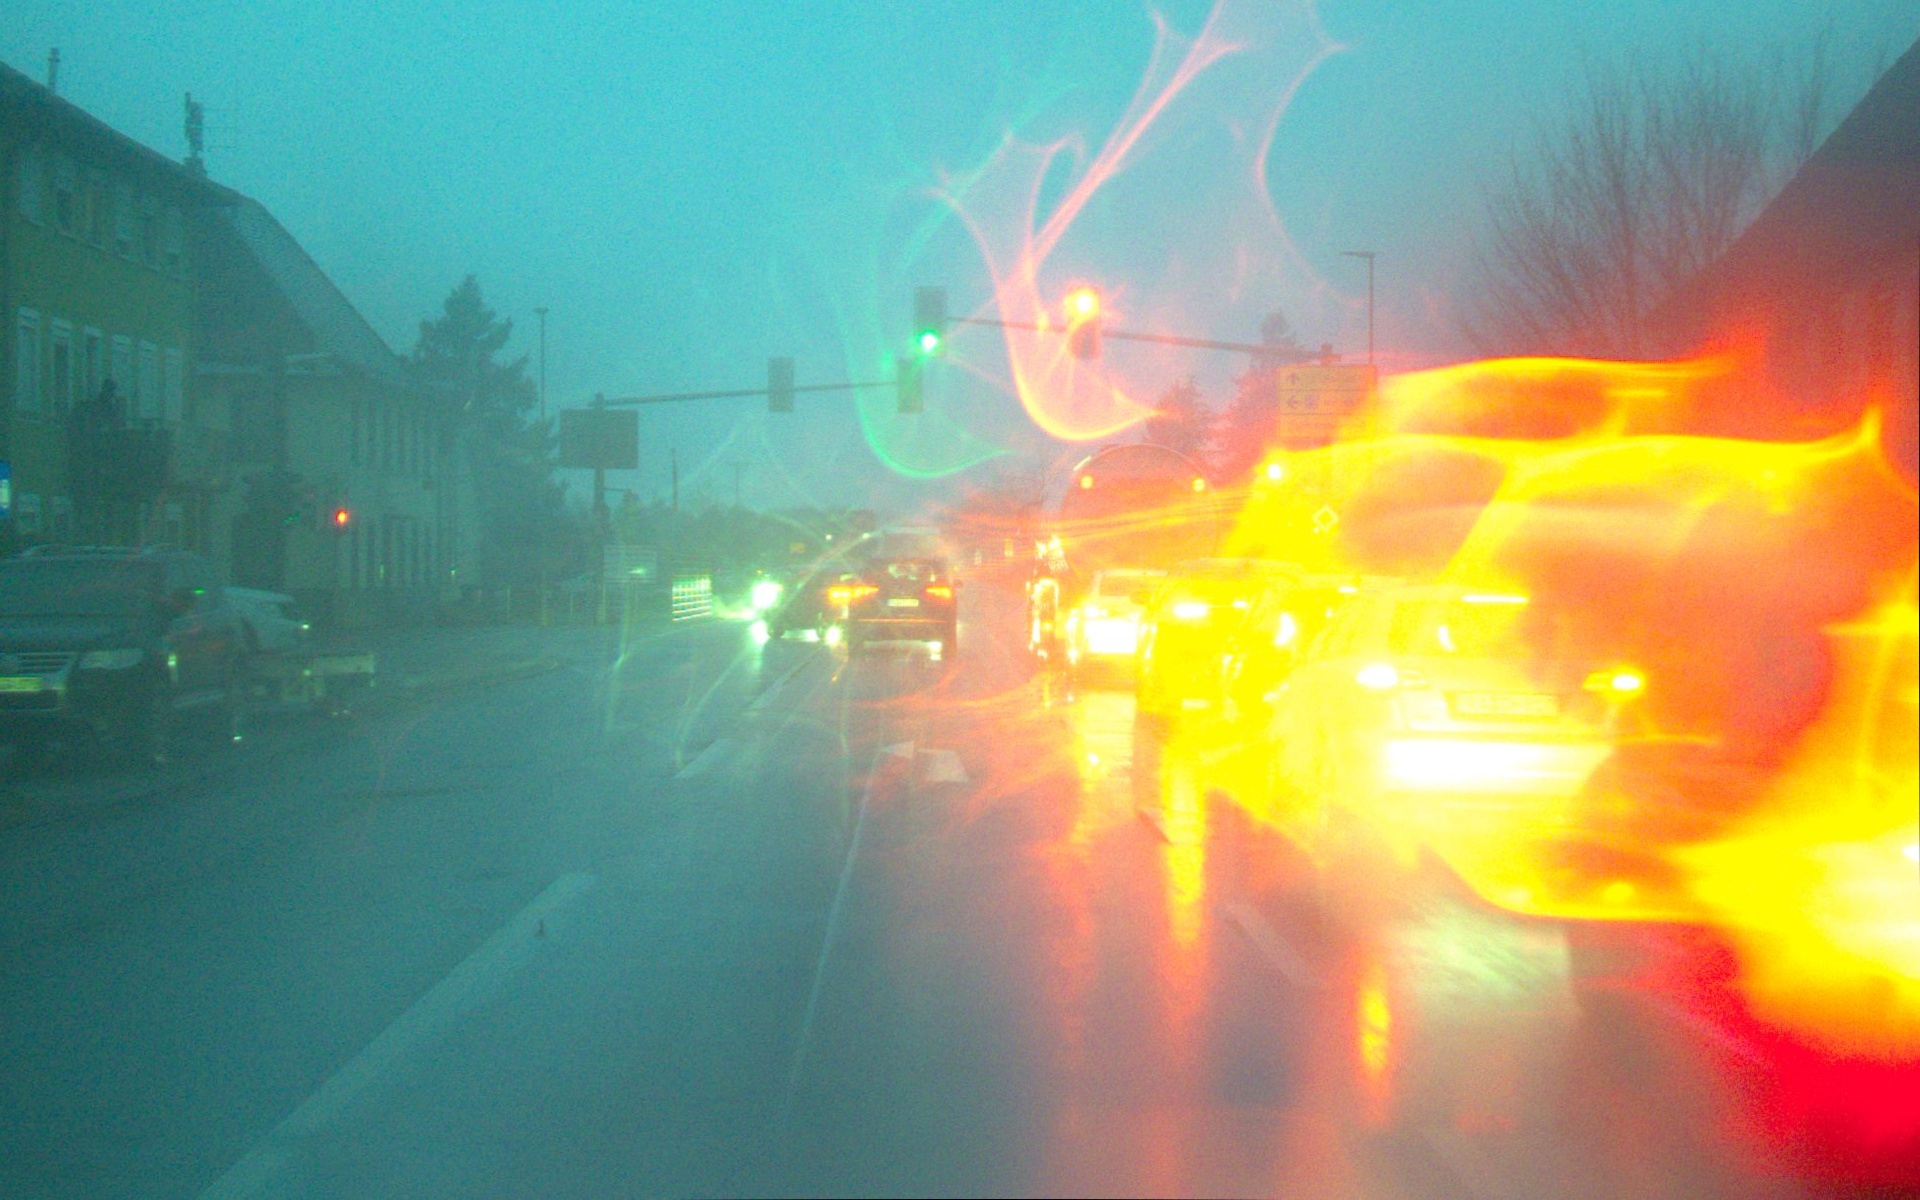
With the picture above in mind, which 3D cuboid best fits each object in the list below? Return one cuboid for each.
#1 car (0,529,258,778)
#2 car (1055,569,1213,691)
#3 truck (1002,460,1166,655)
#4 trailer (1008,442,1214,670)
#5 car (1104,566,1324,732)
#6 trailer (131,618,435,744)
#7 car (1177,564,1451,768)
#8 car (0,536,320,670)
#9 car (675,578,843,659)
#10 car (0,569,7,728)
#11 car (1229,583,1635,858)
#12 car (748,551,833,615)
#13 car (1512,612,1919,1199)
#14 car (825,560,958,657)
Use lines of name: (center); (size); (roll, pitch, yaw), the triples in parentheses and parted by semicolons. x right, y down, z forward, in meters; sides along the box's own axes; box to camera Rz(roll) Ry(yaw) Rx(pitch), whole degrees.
car: (-7.075, 0.366, 27.631); (1.970, 1.824, 4.513); (-1, 1, -1)
car: (2.160, 0.343, 43.592); (1.662, 1.434, 4.382); (1, 0, -1)
truck: (2.114, -0.735, 60.781); (2.461, 3.219, 6.273); (1, 0, -1)
trailer: (2.245, -0.673, 54.887); (2.488, 3.230, 10.869); (1, 0, -1)
car: (2.569, 0.456, 35.760); (1.836, 1.563, 4.504); (2, 0, -1)
trailer: (-6.849, 0.779, 35.468); (1.993, 1.035, 6.104); (-1, 1, -1)
car: (2.780, 0.475, 27.827); (1.701, 1.466, 4.272); (1, 1, -1)
car: (-11.597, 0.027, 47.260); (5.189, 1.785, 2.000); (0, 0, 1)
car: (-3.989, 0.360, 68.081); (3.215, 1.503, 1.549); (1, 1, -6)
car: (-10.542, 0.396, 30.090); (3.893, 1.423, 1.719); (1, 0, 0)
car: (2.549, 0.597, 19.478); (1.653, 1.331, 4.272); (1, 1, -1)
car: (-4.732, -0.486, 96.494); (1.994, 1.740, 4.000); (-1, 1, 2)
car: (2.804, 0.755, 9.792); (1.641, 1.362, 4.769); (1, 0, 0)
car: (-1.209, 0.115, 58.403); (2.047, 1.567, 4.704); (-1, 1, -4)
